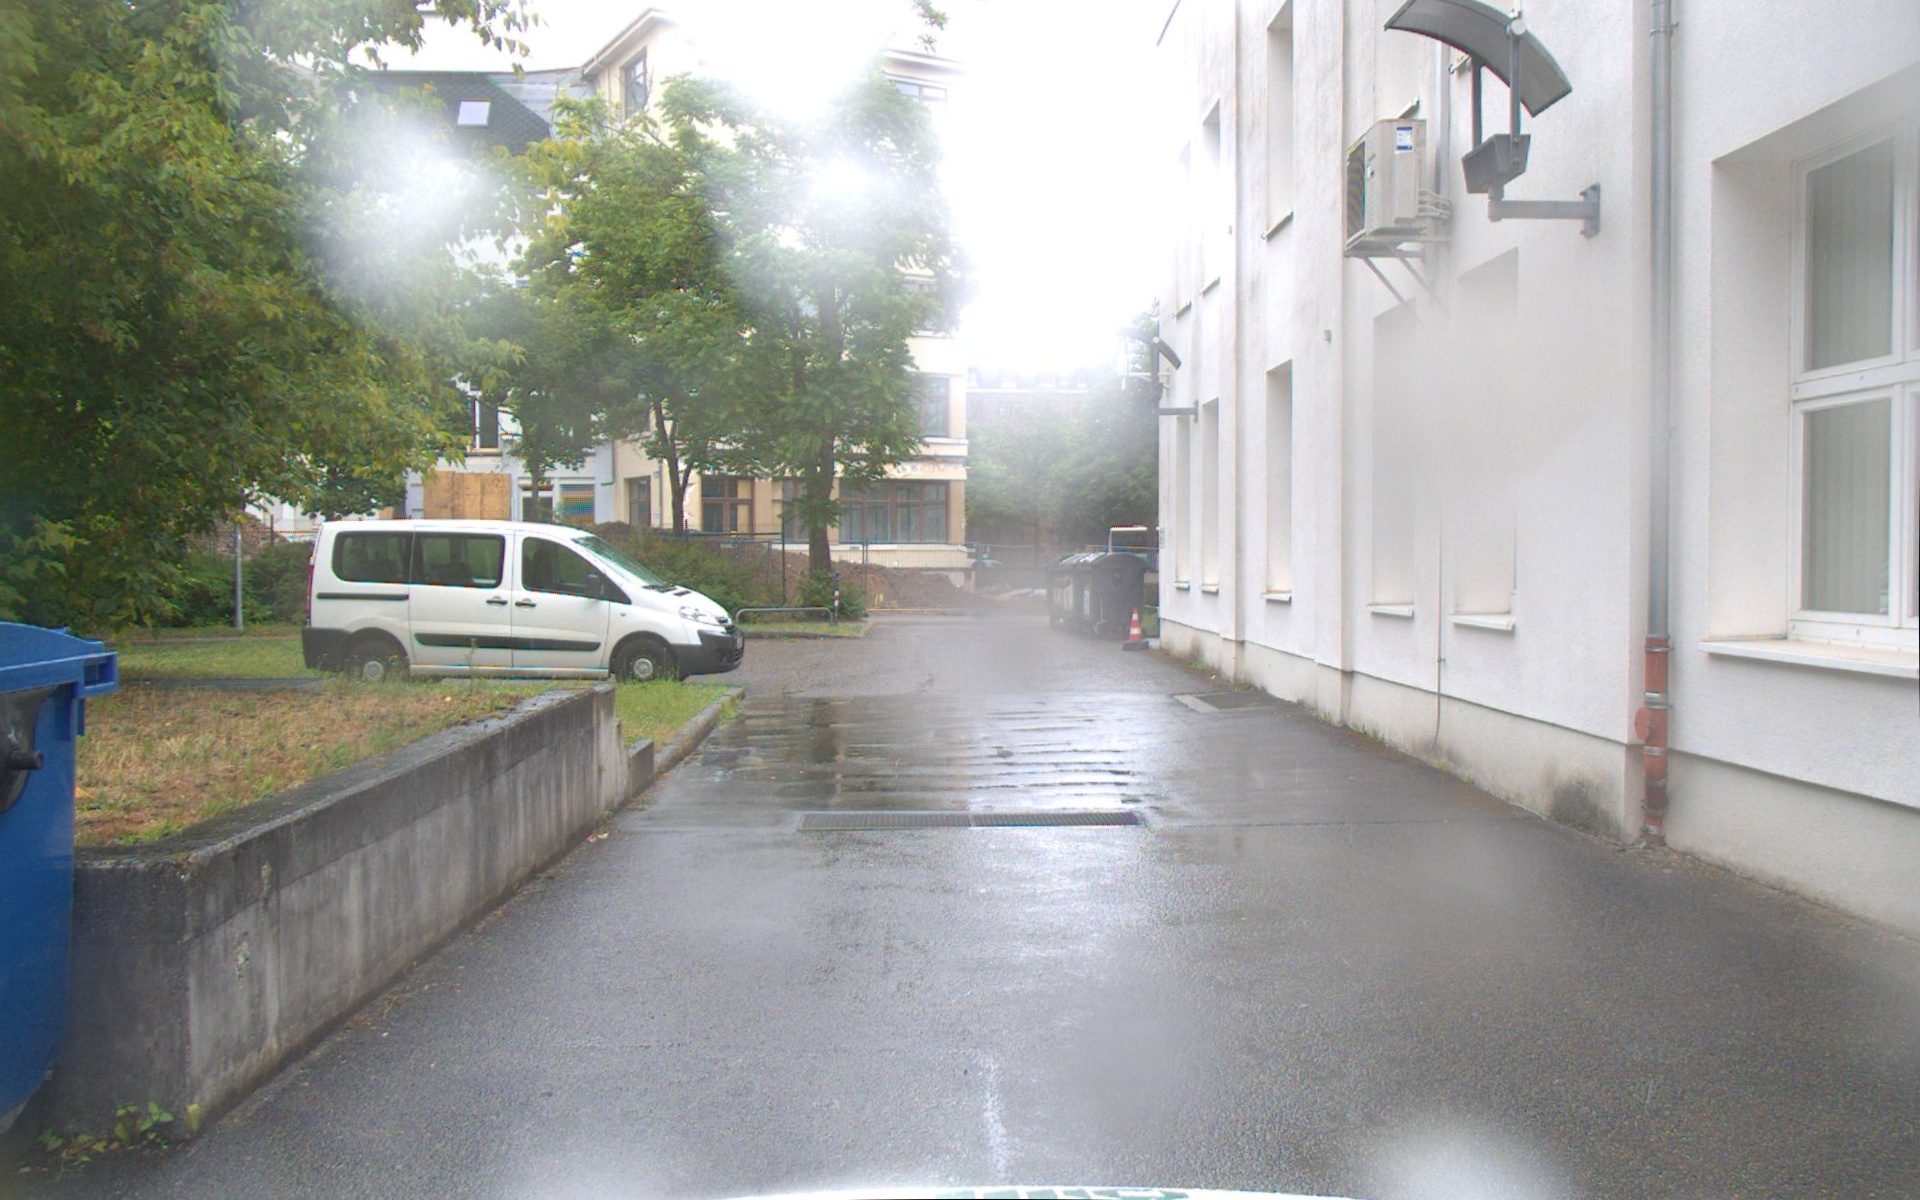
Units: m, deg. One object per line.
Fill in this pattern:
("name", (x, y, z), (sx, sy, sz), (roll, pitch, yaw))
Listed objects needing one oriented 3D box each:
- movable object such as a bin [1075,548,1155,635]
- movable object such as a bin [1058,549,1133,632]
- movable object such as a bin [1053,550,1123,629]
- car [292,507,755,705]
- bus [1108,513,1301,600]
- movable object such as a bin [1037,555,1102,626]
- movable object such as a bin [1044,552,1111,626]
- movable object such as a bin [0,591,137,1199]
("movable object such as a bin", (2.652, -0.132, 28.388), (1.190, 1.462, 1.235), (0, -1, -4))
("movable object such as a bin", (2.447, -0.165, 30.026), (1.190, 1.462, 1.293), (0, -1, -4))
("movable object such as a bin", (2.437, -0.188, 31.706), (1.190, 1.494, 1.235), (0, -1, -4))
("car", (-4.822, 0.027, 18.831), (4.683, 2.048, 2.000), (-1, 2, -1))
("bus", (12.108, -2.057, 83.631), (2.778, 3.941, 11.930), (0, -1, -31))
("movable object such as a bin", (2.271, -0.191, 34.457), (1.190, 1.462, 1.258), (0, -1, -4))
("movable object such as a bin", (2.335, -0.207, 33.079), (1.190, 1.462, 1.258), (0, -1, -4))
("movable object such as a bin", (-2.601, 0.678, 3.499), (1.196, 1.360, 1.006), (0, 2, -1))
